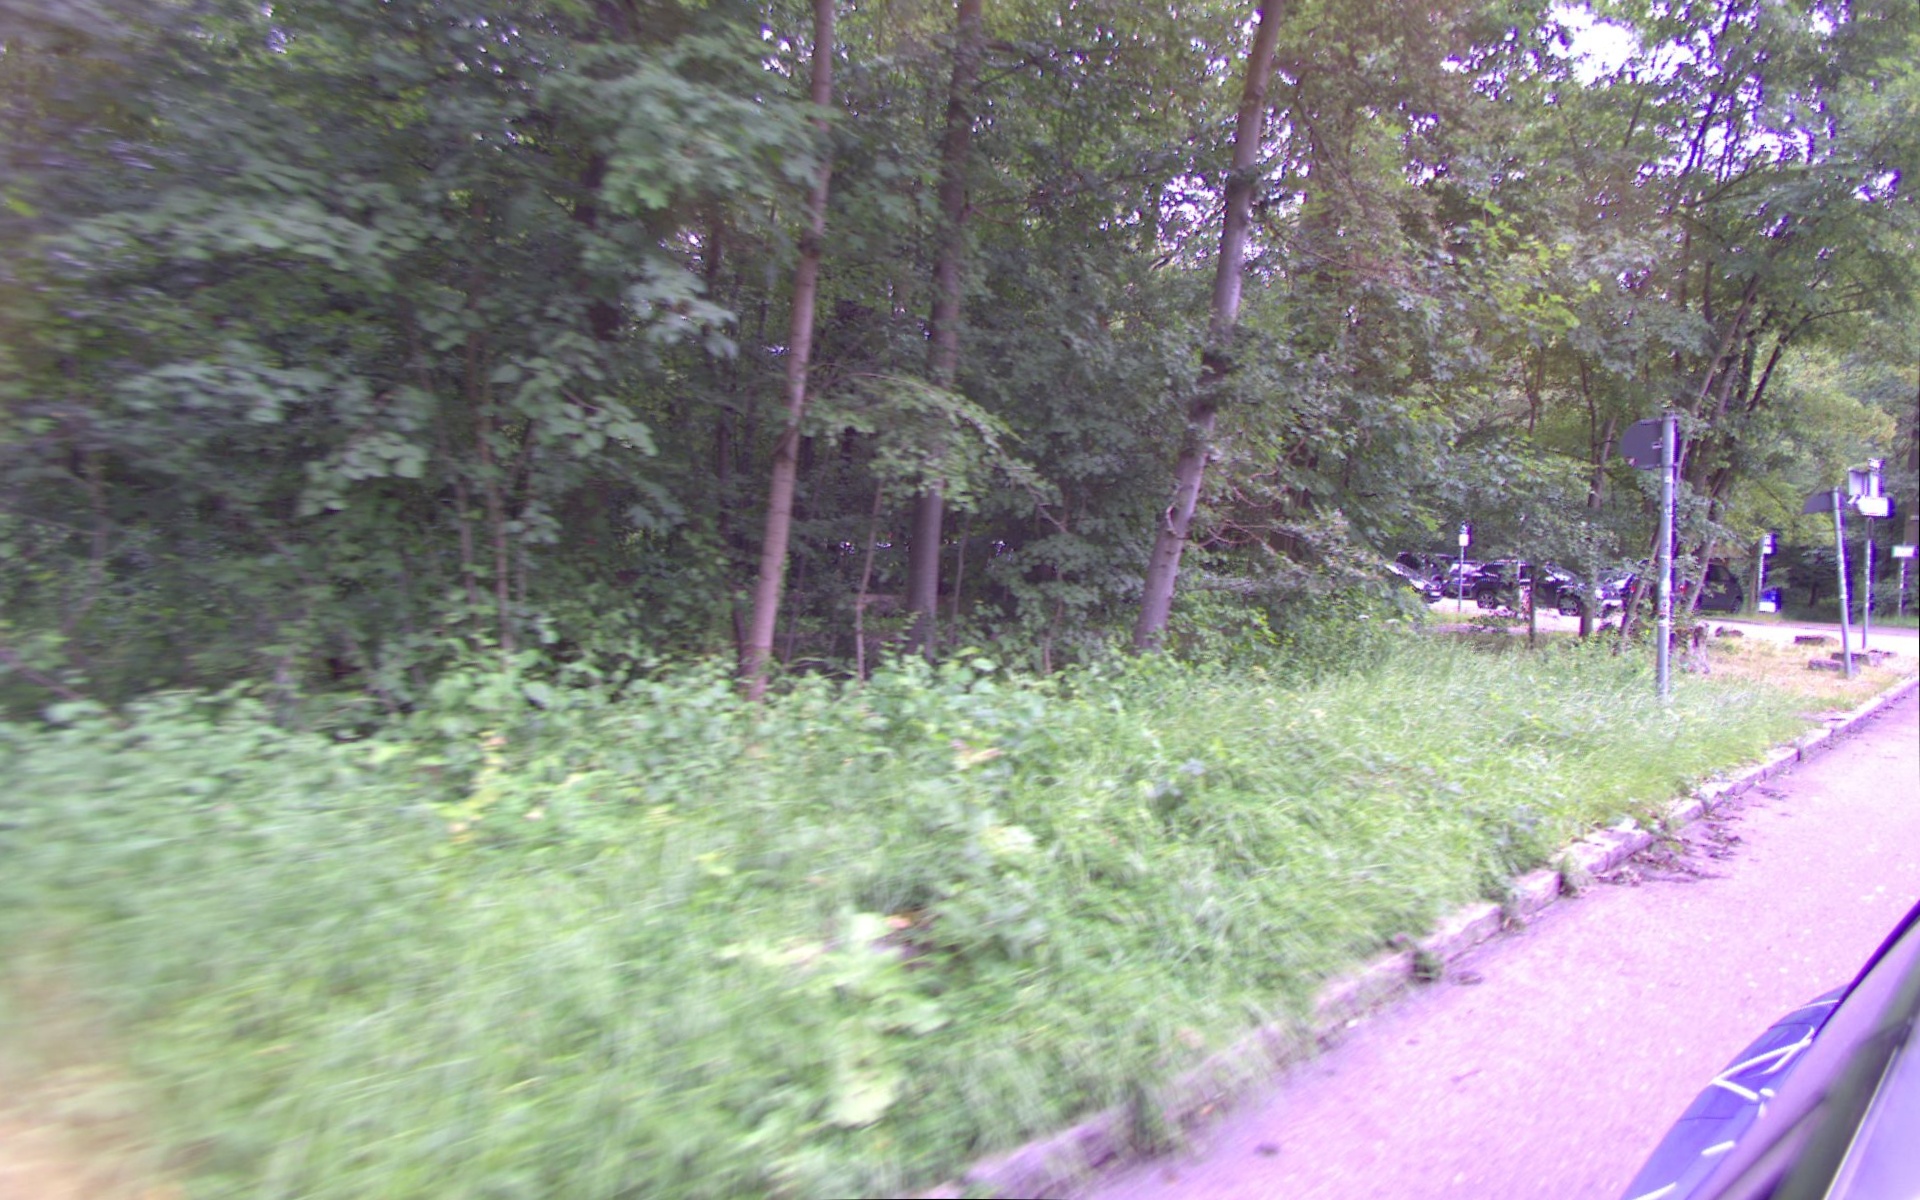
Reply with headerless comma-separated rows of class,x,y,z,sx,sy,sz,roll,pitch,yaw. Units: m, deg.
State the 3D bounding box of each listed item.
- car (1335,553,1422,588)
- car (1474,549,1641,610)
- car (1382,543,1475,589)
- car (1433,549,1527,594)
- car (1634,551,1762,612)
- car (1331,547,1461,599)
car,19.548,-1.377,47.224,3.922,1.494,1.781,0,3,-34
car,18.601,-0.700,31.716,1.779,1.652,4.107,-1,5,-30
car,20.965,-1.518,45.270,3.921,1.885,1.816,1,3,-32
car,22.197,-1.221,43.178,3.922,1.786,1.826,-1,4,-33
car,26.402,-0.664,36.187,4.426,2.002,1.894,1,3,-29
car,15.804,-1.036,36.864,1.779,1.652,4.006,-1,5,-30
